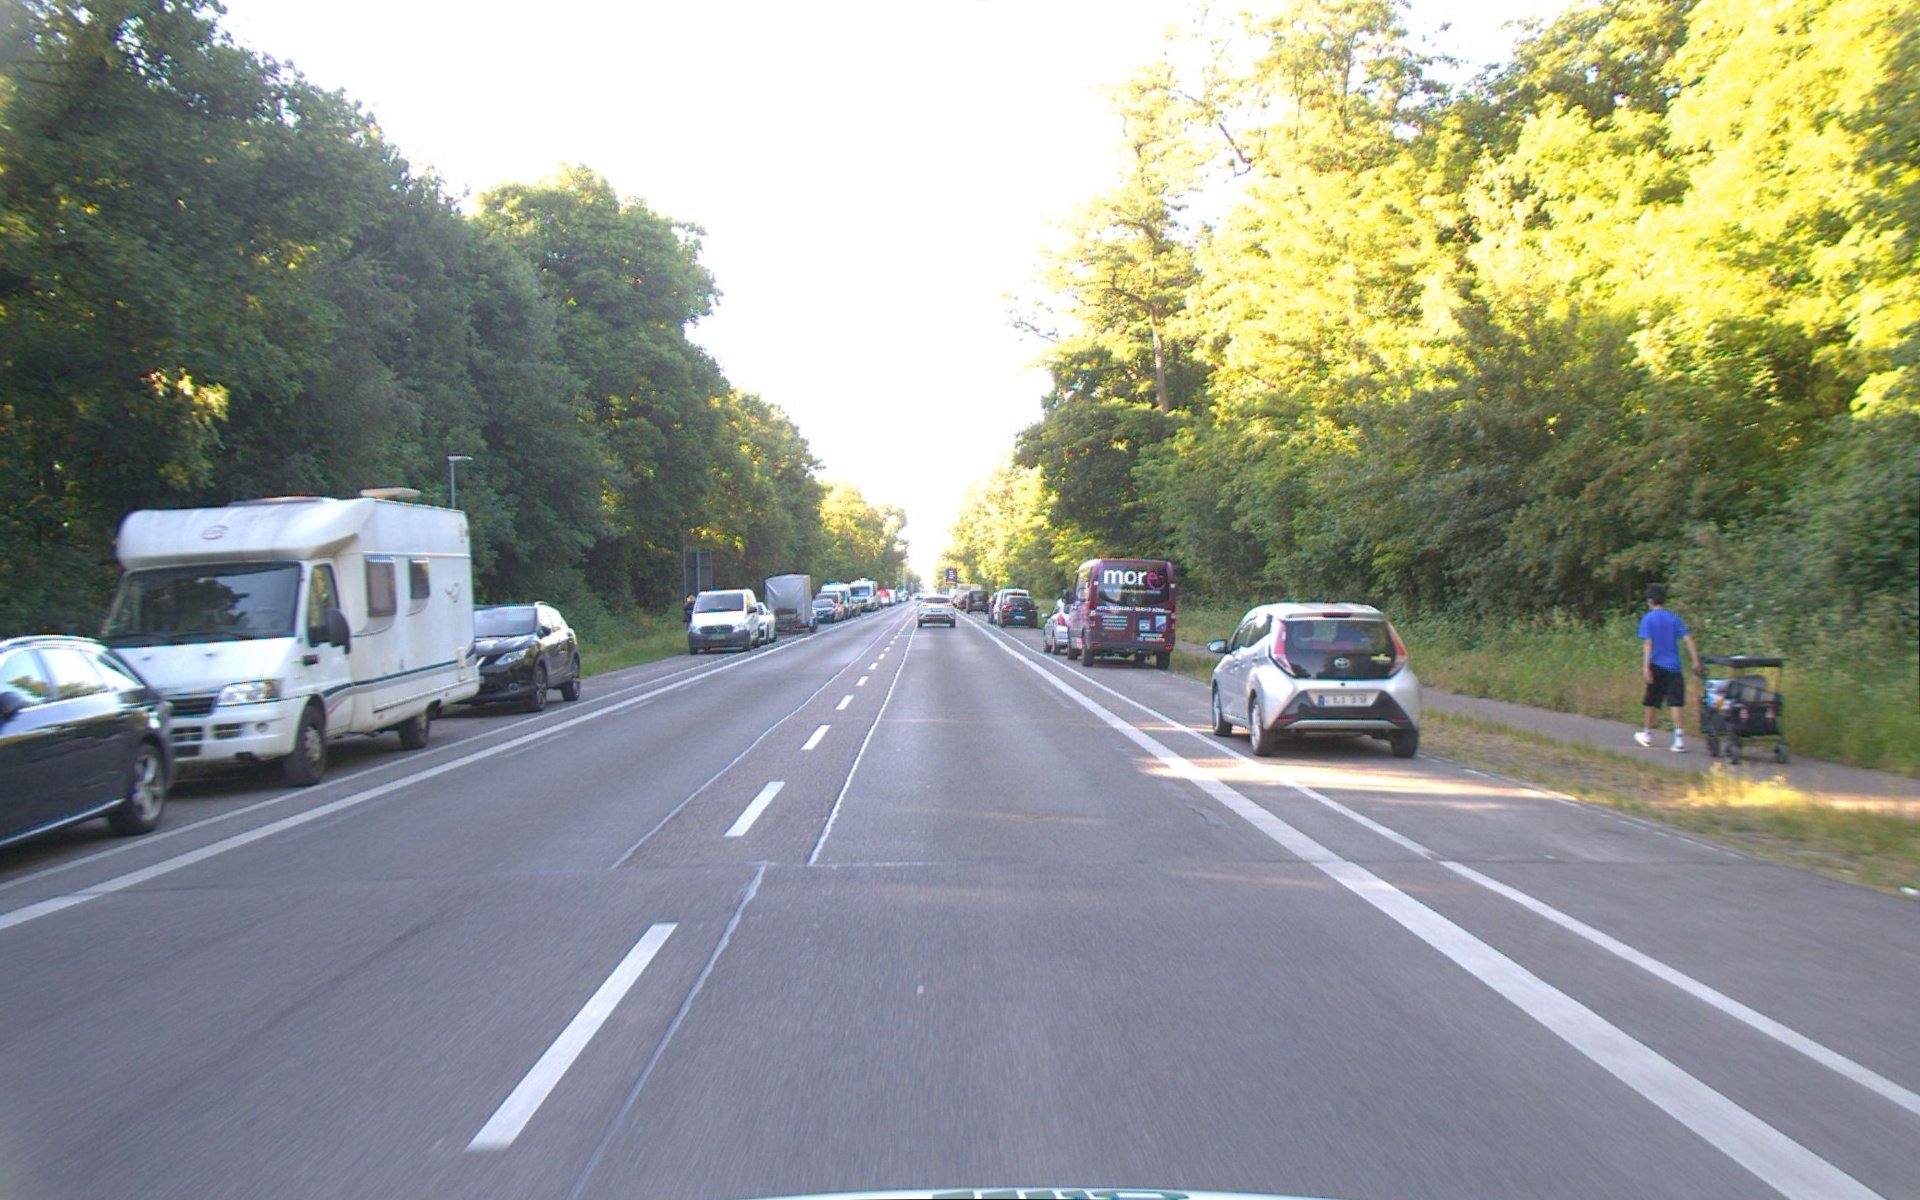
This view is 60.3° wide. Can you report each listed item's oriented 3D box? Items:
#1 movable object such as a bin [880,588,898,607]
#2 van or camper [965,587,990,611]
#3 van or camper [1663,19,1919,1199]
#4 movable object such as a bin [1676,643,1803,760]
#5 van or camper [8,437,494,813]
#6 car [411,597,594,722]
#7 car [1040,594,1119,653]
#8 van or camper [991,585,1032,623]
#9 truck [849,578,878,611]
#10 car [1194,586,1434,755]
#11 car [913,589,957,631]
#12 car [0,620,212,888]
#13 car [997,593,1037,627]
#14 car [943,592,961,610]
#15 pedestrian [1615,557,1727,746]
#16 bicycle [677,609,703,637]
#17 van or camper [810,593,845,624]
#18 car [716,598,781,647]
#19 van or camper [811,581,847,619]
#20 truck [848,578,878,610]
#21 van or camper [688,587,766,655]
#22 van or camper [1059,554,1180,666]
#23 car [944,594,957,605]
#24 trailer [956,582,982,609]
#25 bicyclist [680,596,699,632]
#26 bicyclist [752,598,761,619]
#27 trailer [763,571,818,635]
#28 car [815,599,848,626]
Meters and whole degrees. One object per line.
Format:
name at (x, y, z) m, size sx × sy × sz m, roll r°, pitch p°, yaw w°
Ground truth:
movable object such as a bin at (-9.667, -0.399, 226.510) m, size 2.275 × 2.545 × 3.999 m, roll -1°, pitch 0°, yaw -1°
van or camper at (1.469, -0.084, 138.473) m, size 1.953 × 1.966 × 5.198 m, roll 0°, pitch 0°, yaw -1°
van or camper at (3.696, 0.098, 1.780) m, size 2.395 × 2.849 × 6.544 m, roll 0°, pitch 0°, yaw -8°
movable object such as a bin at (7.691, 0.987, 16.362) m, size 0.773 × 1.065 × 0.986 m, roll -1°, pitch 0°, yaw -1°
van or camper at (-6.957, 0.188, 17.469) m, size 2.269 × 3.021 × 7.106 m, roll -3°, pitch 0°, yaw -3°
car at (-6.965, 0.844, 25.609) m, size 1.613 × 1.660 × 4.272 m, roll -3°, pitch 0°, yaw -1°
car at (3.246, 0.615, 45.550) m, size 1.712 × 1.542 × 3.998 m, roll 0°, pitch 0°, yaw -3°
van or camper at (2.631, 0.190, 84.996) m, size 1.912 × 1.847 × 4.380 m, roll -1°, pitch 0°, yaw -1°
truck at (-10.425, -0.609, 179.132) m, size 2.652 × 3.406 × 10.921 m, roll -1°, pitch 0°, yaw -1°
car at (3.632, 0.651, 17.654) m, size 1.677 × 1.572 × 4.022 m, roll 1°, pitch 0°, yaw 0°
car at (-1.191, 0.458, 78.394) m, size 1.987 × 1.872 × 4.028 m, roll -1°, pitch 0°, yaw -1°
car at (-6.535, 0.953, 10.357) m, size 1.791 × 1.501 × 4.677 m, roll -3°, pitch 0°, yaw -4°
car at (2.682, 0.467, 78.587) m, size 1.656 × 1.551 × 4.148 m, roll 0°, pitch 0°, yaw -1°
car at (-0.791, 0.118, 161.173) m, size 1.803 × 1.691 × 4.000 m, roll 0°, pitch 0°, yaw -1°
pedestrian at (7.575, 0.531, 17.654) m, size 0.752 × 1.951 × 0.919 m, roll -1°, pitch 0°, yaw -1°
bicycle at (-10.445, 0.889, 64.140) m, size 0.638 × 1.026 × 2.396 m, roll -1°, pitch 0°, yaw -1°
van or camper at (-8.620, 0.532, 107.919) m, size 1.884 × 1.899 × 4.862 m, roll -3°, pitch 0°, yaw -1°
car at (-7.441, 0.767, 58.570) m, size 1.739 × 1.567 × 4.523 m, roll -3°, pitch 0°, yaw -1°
van or camper at (-9.454, 0.009, 119.918) m, size 2.078 × 2.617 × 6.541 m, roll -2°, pitch 0°, yaw -1°
truck at (-9.775, -0.583, 167.213) m, size 2.652 × 3.147 × 7.987 m, roll -1°, pitch 0°, yaw -1°
van or camper at (-7.234, 0.605, 51.792) m, size 1.799 × 1.944 × 4.854 m, roll -3°, pitch 0°, yaw -2°
van or camper at (3.610, 0.195, 38.582) m, size 1.994 × 2.352 × 6.039 m, roll -2°, pitch 0°, yaw -2°
car at (-1.315, -0.066, 219.361) m, size 1.622 × 1.504 × 3.753 m, roll -1°, pitch 0°, yaw -1°
trailer at (0.976, -0.533, 183.478) m, size 2.701 × 2.920 × 6.587 m, roll -1°, pitch 0°, yaw -1°
bicyclist at (-10.460, 0.535, 64.008) m, size 0.592 × 1.398 × 0.799 m, roll -1°, pitch 0°, yaw -1°
bicyclist at (-12.201, 0.512, 99.171) m, size 0.477 × 1.256 × 0.974 m, roll -1°, pitch 0°, yaw -1°
trailer at (-7.579, 0.119, 74.311) m, size 1.953 × 2.642 × 4.415 m, roll -3°, pitch 0°, yaw -1°
car at (-7.844, 0.727, 101.235) m, size 1.696 × 1.503 × 4.323 m, roll -3°, pitch 0°, yaw -1°
